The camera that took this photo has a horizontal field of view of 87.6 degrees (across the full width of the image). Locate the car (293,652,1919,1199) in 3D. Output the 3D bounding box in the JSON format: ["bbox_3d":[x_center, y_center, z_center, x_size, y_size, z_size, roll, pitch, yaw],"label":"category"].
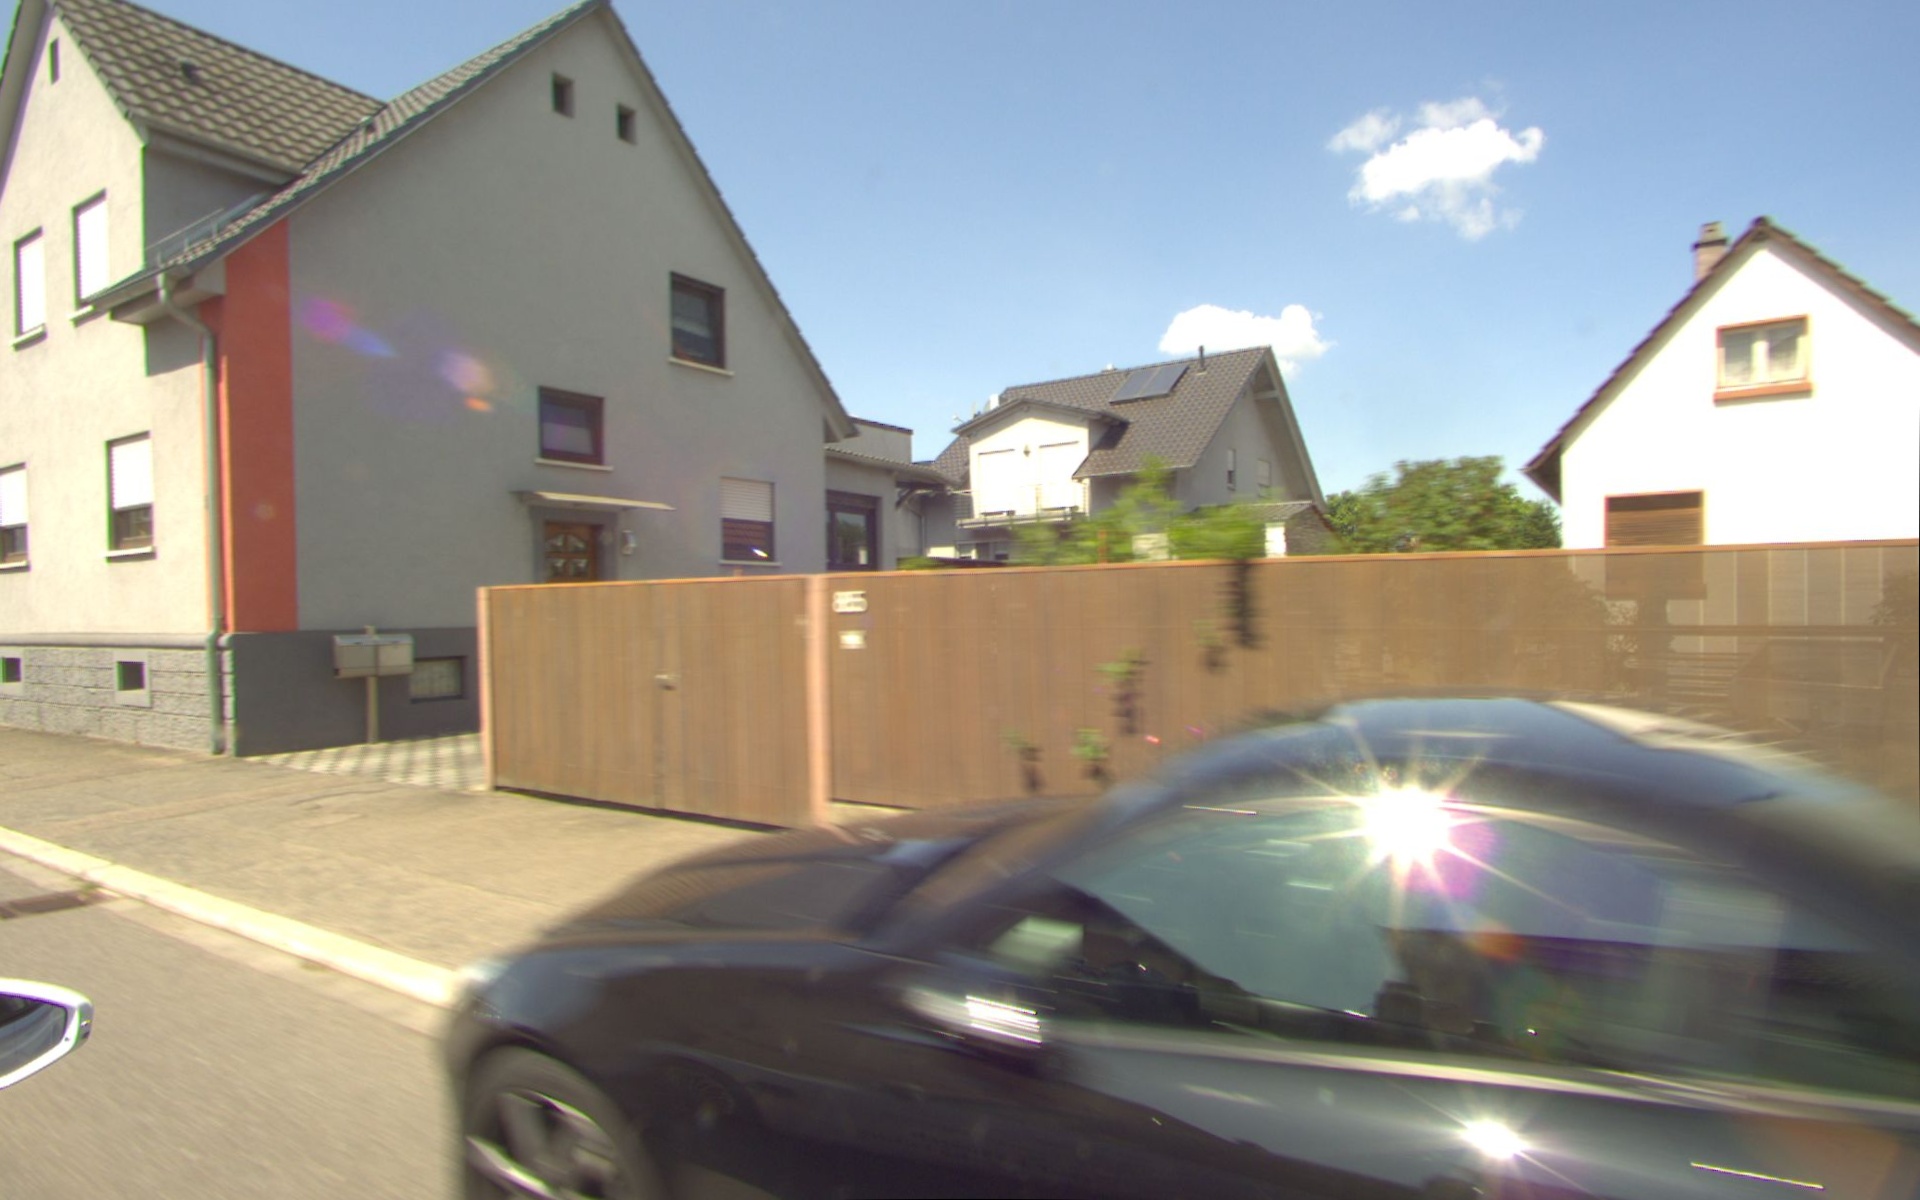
[{"bbox_3d":[0.548,0.818,2.113,4.089,1.292,1.811,-1,-1,33],"label":"car"}]
